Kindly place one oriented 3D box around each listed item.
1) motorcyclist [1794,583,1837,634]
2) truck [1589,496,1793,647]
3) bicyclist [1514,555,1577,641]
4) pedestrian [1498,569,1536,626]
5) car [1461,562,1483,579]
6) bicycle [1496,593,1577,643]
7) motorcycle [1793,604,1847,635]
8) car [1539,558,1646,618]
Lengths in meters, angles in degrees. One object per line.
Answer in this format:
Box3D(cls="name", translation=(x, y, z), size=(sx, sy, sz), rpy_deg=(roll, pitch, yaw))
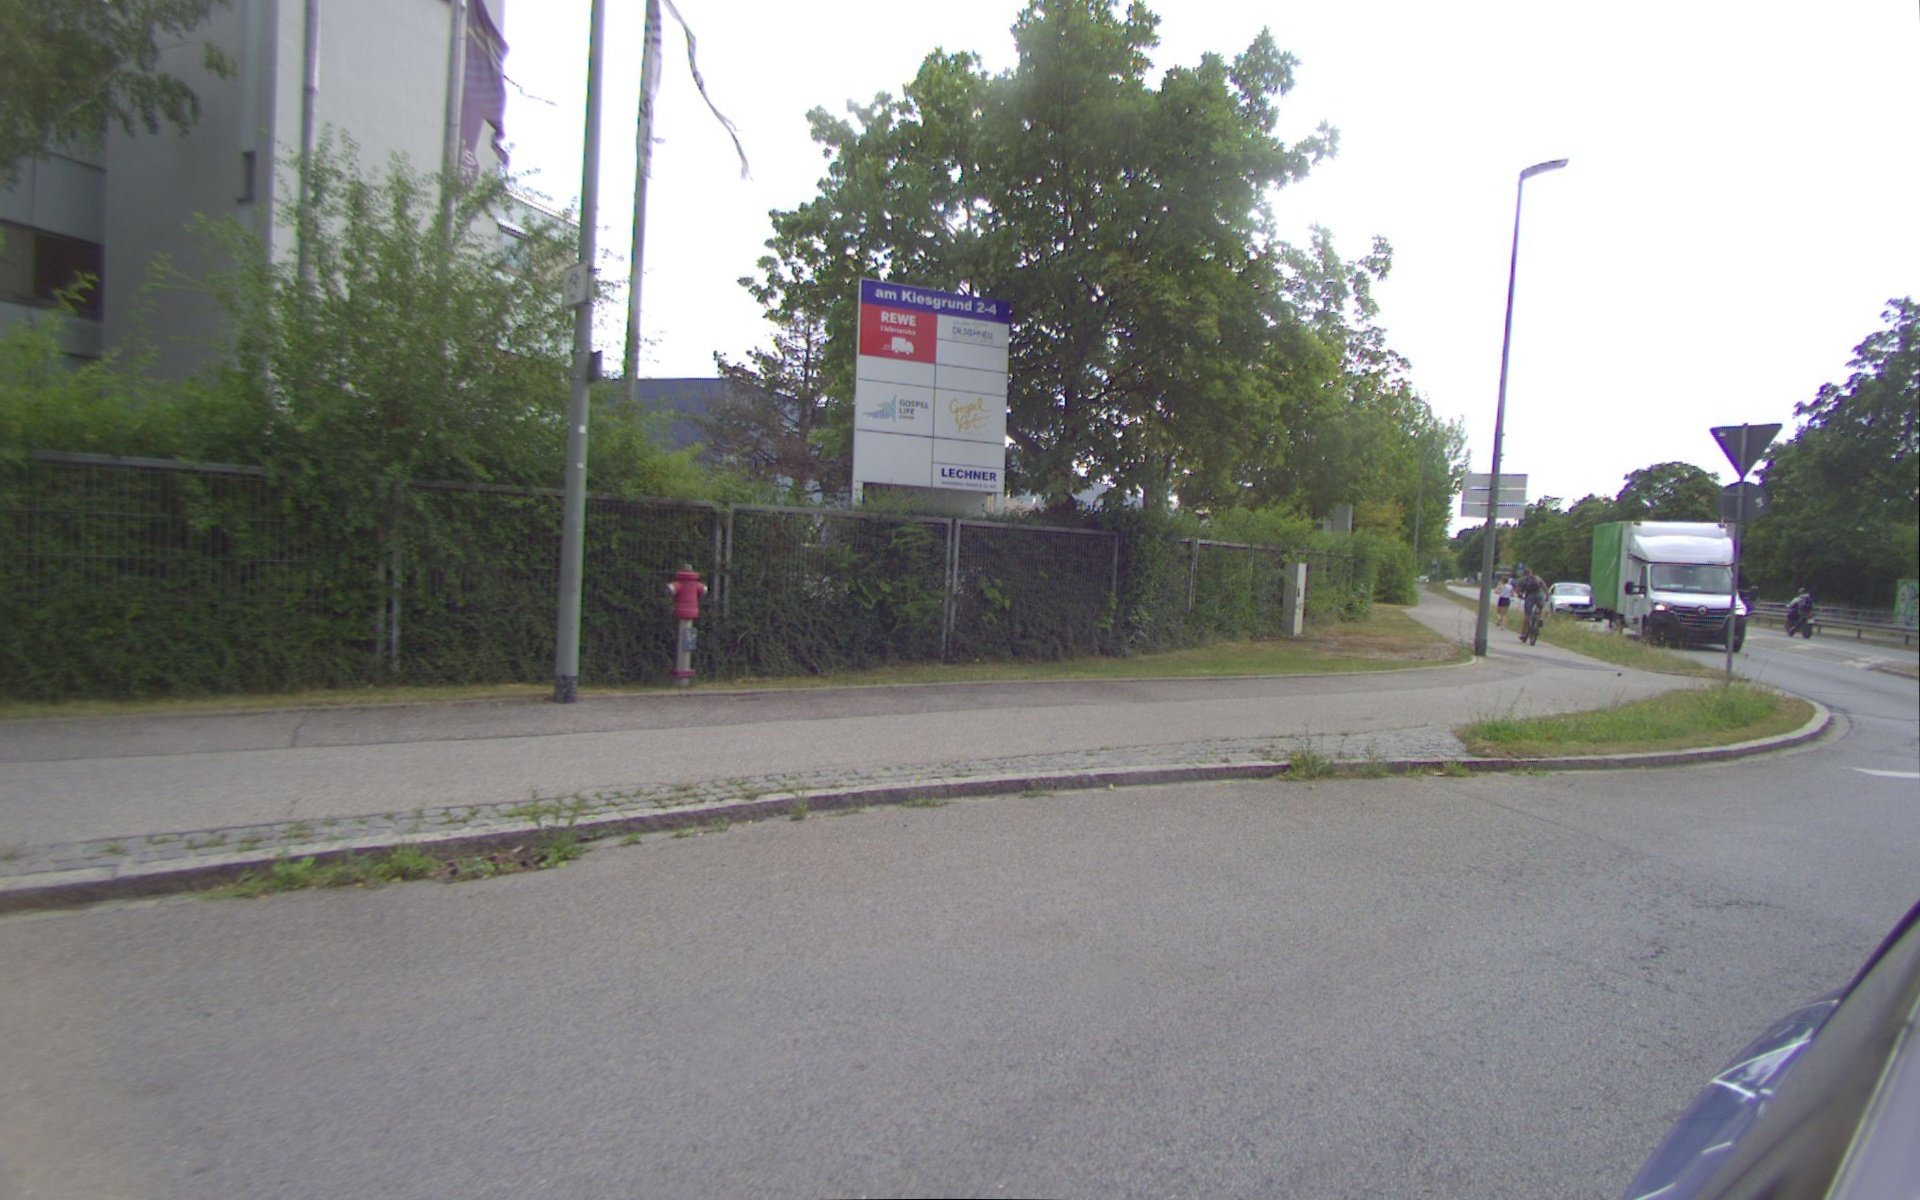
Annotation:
Box3D(cls="motorcyclist", translation=(30.612, 0.294, 36.226), size=(0.835, 1.721, 0.817), rpy_deg=(4, 3, 22))
Box3D(cls="truck", translation=(19.485, -0.818, 27.550), size=(2.586, 3.489, 7.453), rpy_deg=(3, 3, 22))
Box3D(cls="bicyclist", translation=(13.038, -0.061, 22.568), size=(0.801, 1.809, 0.974), rpy_deg=(7, 3, 17))
Box3D(cls="pedestrian", translation=(15.842, -0.088, 28.803), size=(0.536, 1.549, 0.843), rpy_deg=(4, 2, 6))
Box3D(cls="car", translation=(67.772, -3.893, 134.096), size=(2.015, 2.151, 5.682), rpy_deg=(3, 3, 22))
Box3D(cls="bicycle", translation=(13.014, 0.377, 22.944), size=(0.954, 0.886, 2.483), rpy_deg=(7, 4, 16))
Box3D(cls="motorcycle", translation=(30.508, 0.673, 35.934), size=(0.929, 0.942, 1.601), rpy_deg=(5, 3, 21))
Box3D(cls="car", translation=(25.450, -0.562, 40.998), size=(2.586, 2.151, 5.682), rpy_deg=(3, 3, 22))
